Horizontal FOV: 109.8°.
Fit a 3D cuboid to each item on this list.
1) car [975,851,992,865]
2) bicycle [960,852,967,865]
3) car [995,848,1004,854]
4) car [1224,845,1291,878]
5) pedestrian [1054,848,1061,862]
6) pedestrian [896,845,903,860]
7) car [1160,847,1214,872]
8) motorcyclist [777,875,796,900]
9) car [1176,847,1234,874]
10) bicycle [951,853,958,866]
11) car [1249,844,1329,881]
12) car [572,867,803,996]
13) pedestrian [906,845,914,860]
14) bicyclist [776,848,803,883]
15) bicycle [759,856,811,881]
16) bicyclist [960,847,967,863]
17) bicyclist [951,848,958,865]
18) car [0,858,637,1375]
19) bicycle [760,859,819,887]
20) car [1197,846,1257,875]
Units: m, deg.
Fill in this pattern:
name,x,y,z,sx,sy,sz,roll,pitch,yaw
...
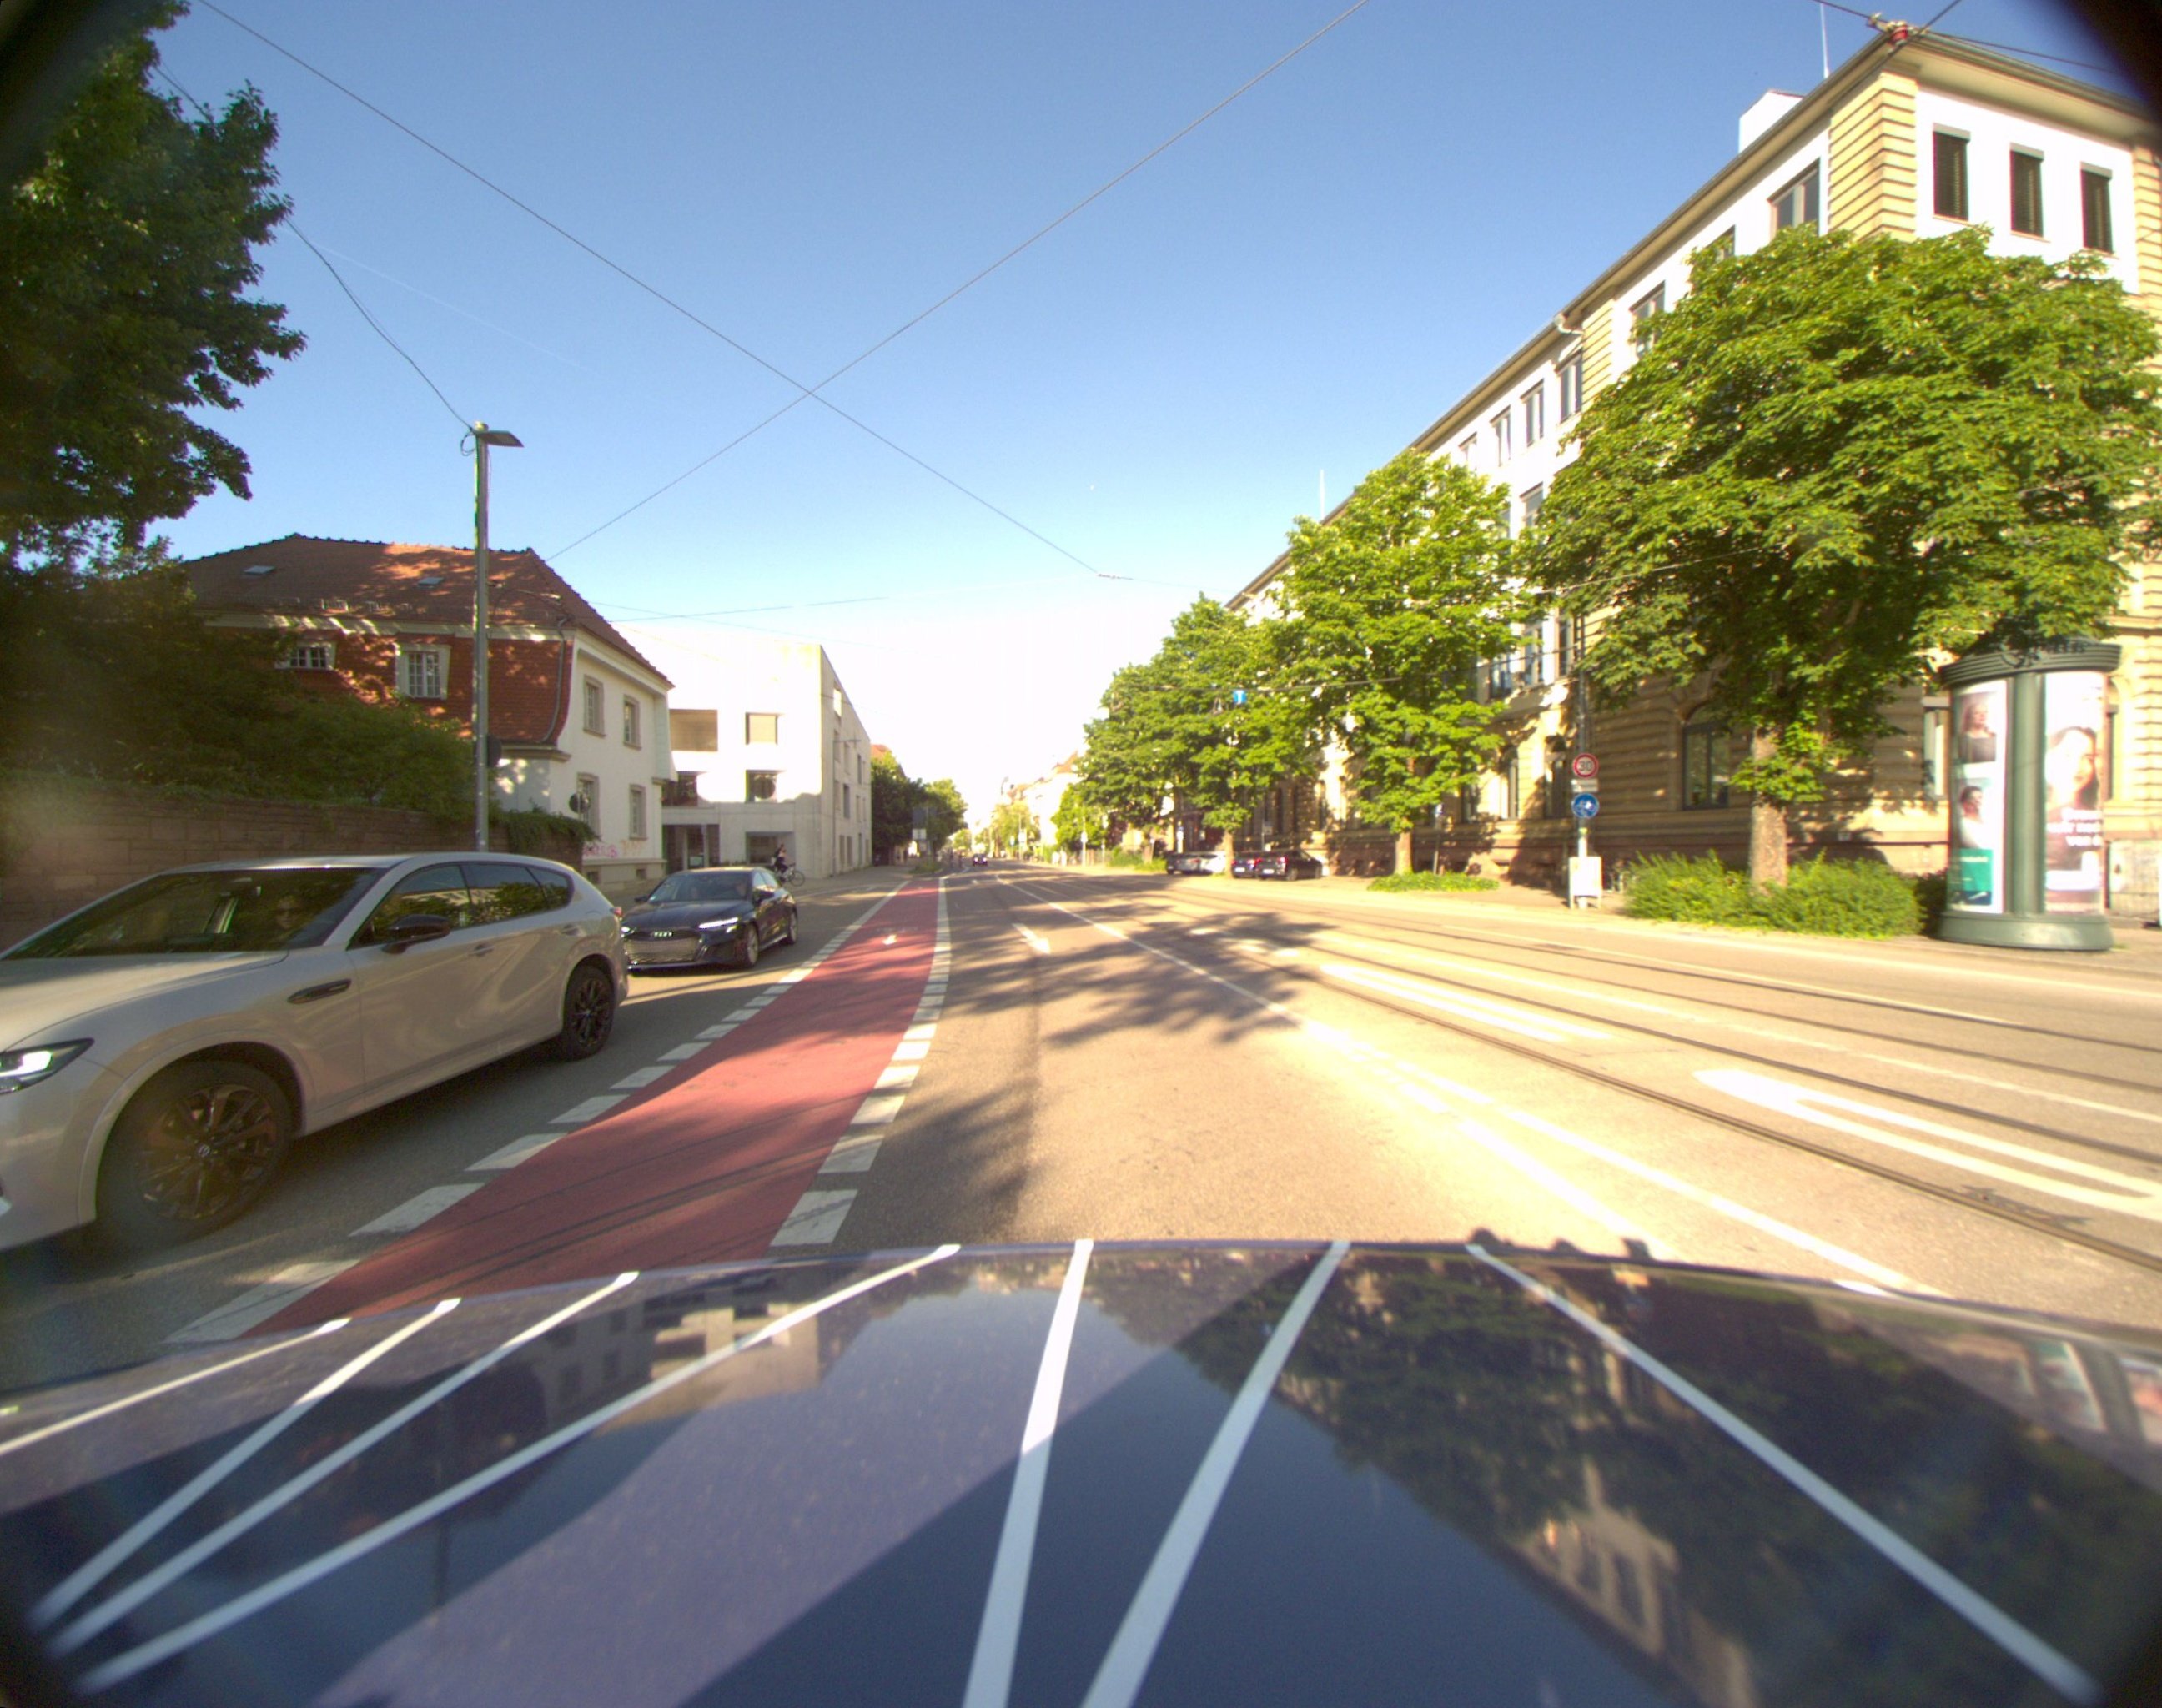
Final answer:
name,x,y,z,sx,sy,sz,roll,pitch,yaw
car,-11.074,0.439,86.381,1.649,1.552,3.648,-2,1,-5
bicycle,-11.828,0.419,76.770,0.676,1.243,2.454,0,1,-8
car,-20.437,-0.767,190.335,1.650,1.552,3.646,-2,1,-12
car,9.420,0.384,40.412,3.657,1.552,1.645,-3,1,-43
pedestrian,-2.732,0.116,87.330,0.676,1.638,0.817,-1,1,-9
pedestrian,-19.000,-0.166,79.497,0.676,1.638,0.817,-1,1,-9
car,7.236,0.354,51.769,3.657,1.552,1.645,-3,1,-43
motorcyclist,-15.387,1.725,39.732,0.855,1.243,0.675,-1,1,-29
car,7.912,0.383,48.359,3.657,1.552,1.645,-3,1,-43
bicycle,-12.772,0.548,76.925,0.676,1.243,2.454,0,1,-8
car,10.383,0.401,37.752,4.189,1.621,1.841,-3,1,-43
car,-5.620,0.995,11.479,1.789,1.425,3.997,-2,1,-8
pedestrian,-17.973,-0.158,79.765,0.676,1.638,0.817,-1,1,-9
bicyclist,-13.689,0.537,35.644,1.031,1.638,0.674,-1,1,-34
bicycle,-15.436,0.756,39.683,2.460,1.243,0.674,-1,1,-29
bicyclist,-11.827,0.123,76.734,0.676,1.638,1.028,0,1,-8
bicyclist,-12.768,0.250,76.894,0.676,1.638,1.028,0,1,-8
car,-4.806,0.935,4.472,1.946,1.682,4.529,-2,1,-5
bicycle,-13.660,0.884,35.666,2.461,1.243,0.674,-1,1,-35
car,8.891,0.382,46.128,3.657,1.552,1.645,-3,1,-43
